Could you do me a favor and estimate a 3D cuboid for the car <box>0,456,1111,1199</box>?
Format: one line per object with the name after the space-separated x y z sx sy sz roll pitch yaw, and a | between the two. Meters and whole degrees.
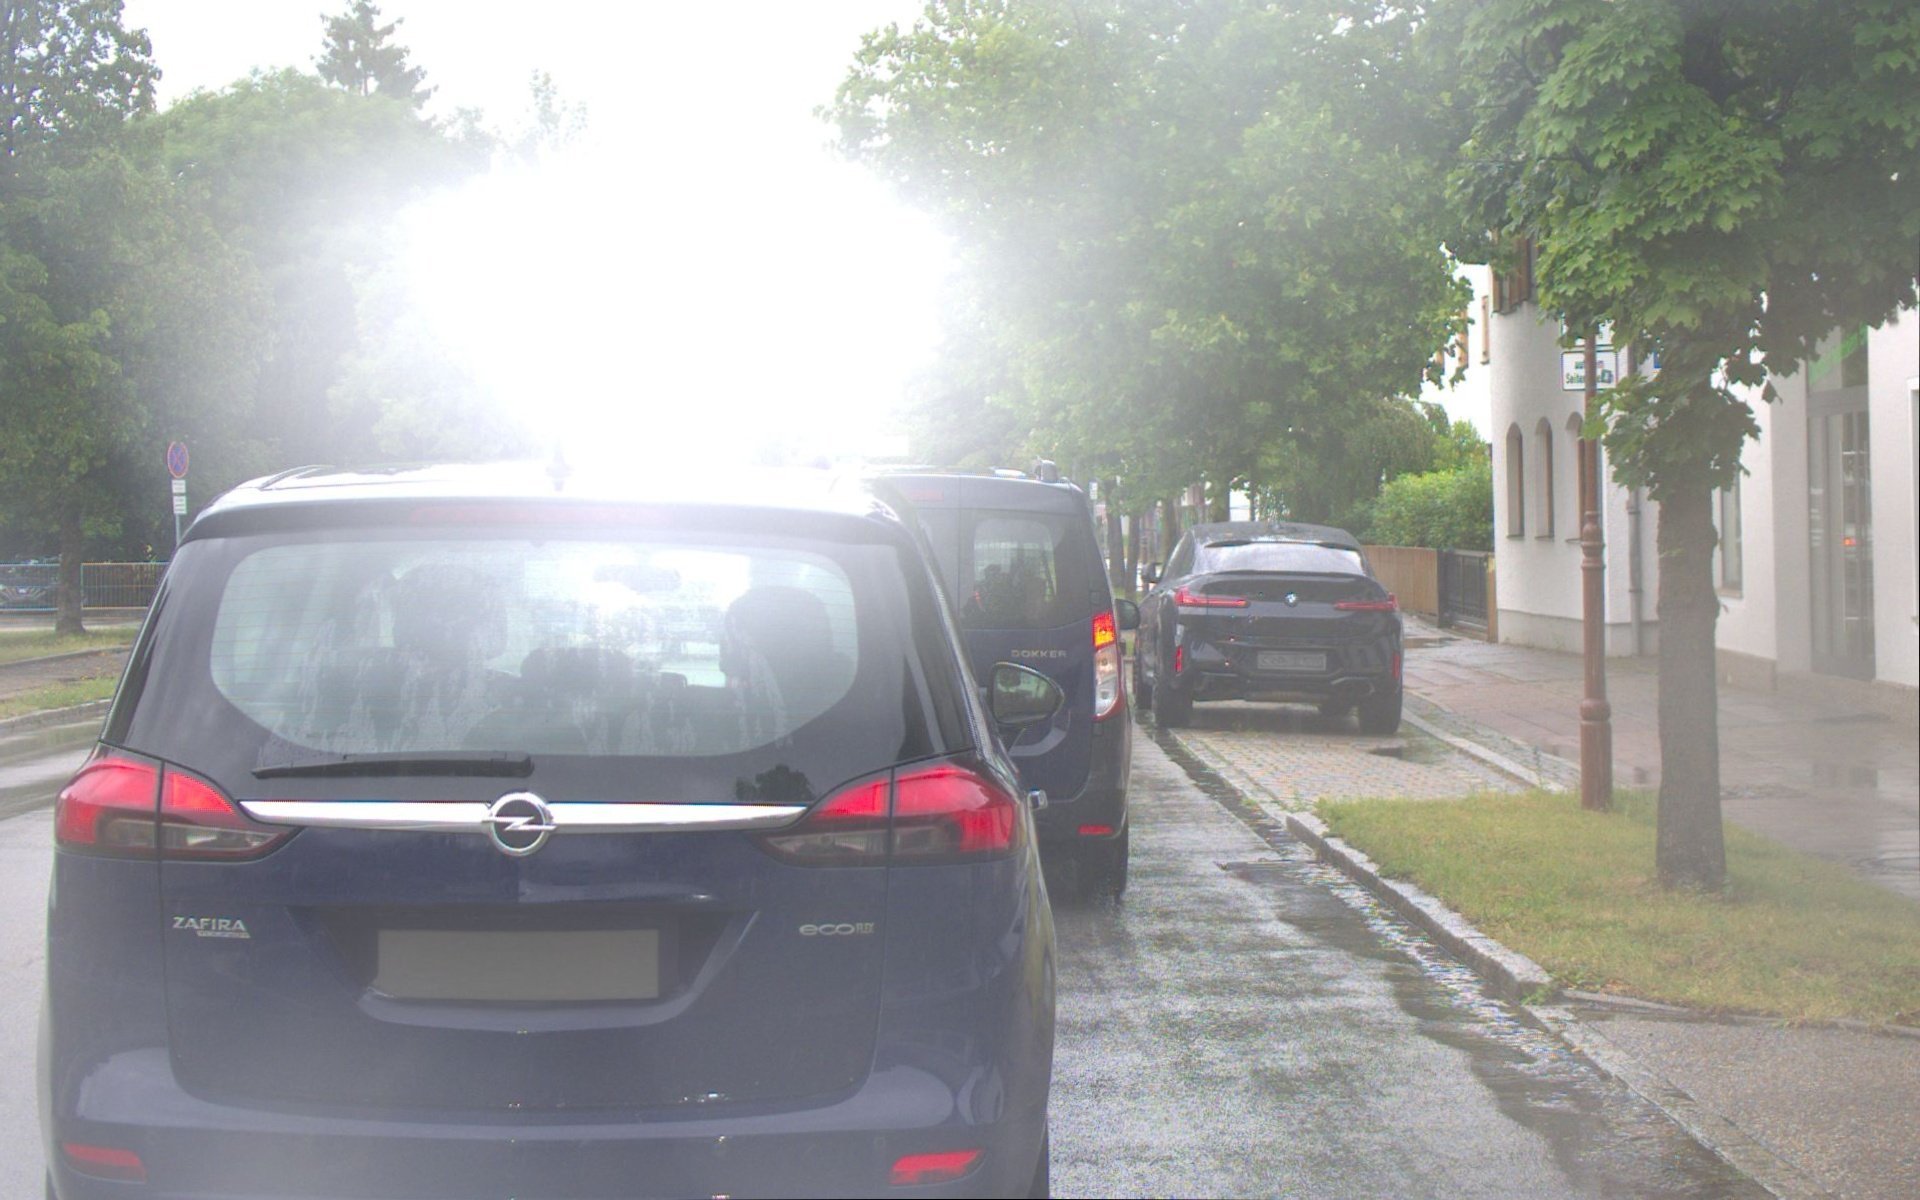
-0.664 0.543 7.252 1.768 1.599 3.663 0 1 0 | car

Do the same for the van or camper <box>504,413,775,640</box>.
-4.246 -0.937 44.374 2.093 2.698 6.270 -1 1 -18 | van or camper

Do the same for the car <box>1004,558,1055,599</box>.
2.339 -0.739 116.656 1.630 1.373 3.623 0 0 -1 | car

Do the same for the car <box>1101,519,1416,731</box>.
2.326 0.160 27.826 2.117 1.576 3.936 1 1 -1 | car

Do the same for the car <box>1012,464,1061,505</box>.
2.778 -4.232 125.980 1.630 1.373 3.623 -2 1 -1 | car

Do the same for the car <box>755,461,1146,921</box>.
-0.049 0.324 14.868 1.500 1.770 3.112 0 1 0 | car

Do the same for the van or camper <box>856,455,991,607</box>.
-0.667 -1.284 63.856 2.360 2.656 5.372 -1 1 0 | van or camper
